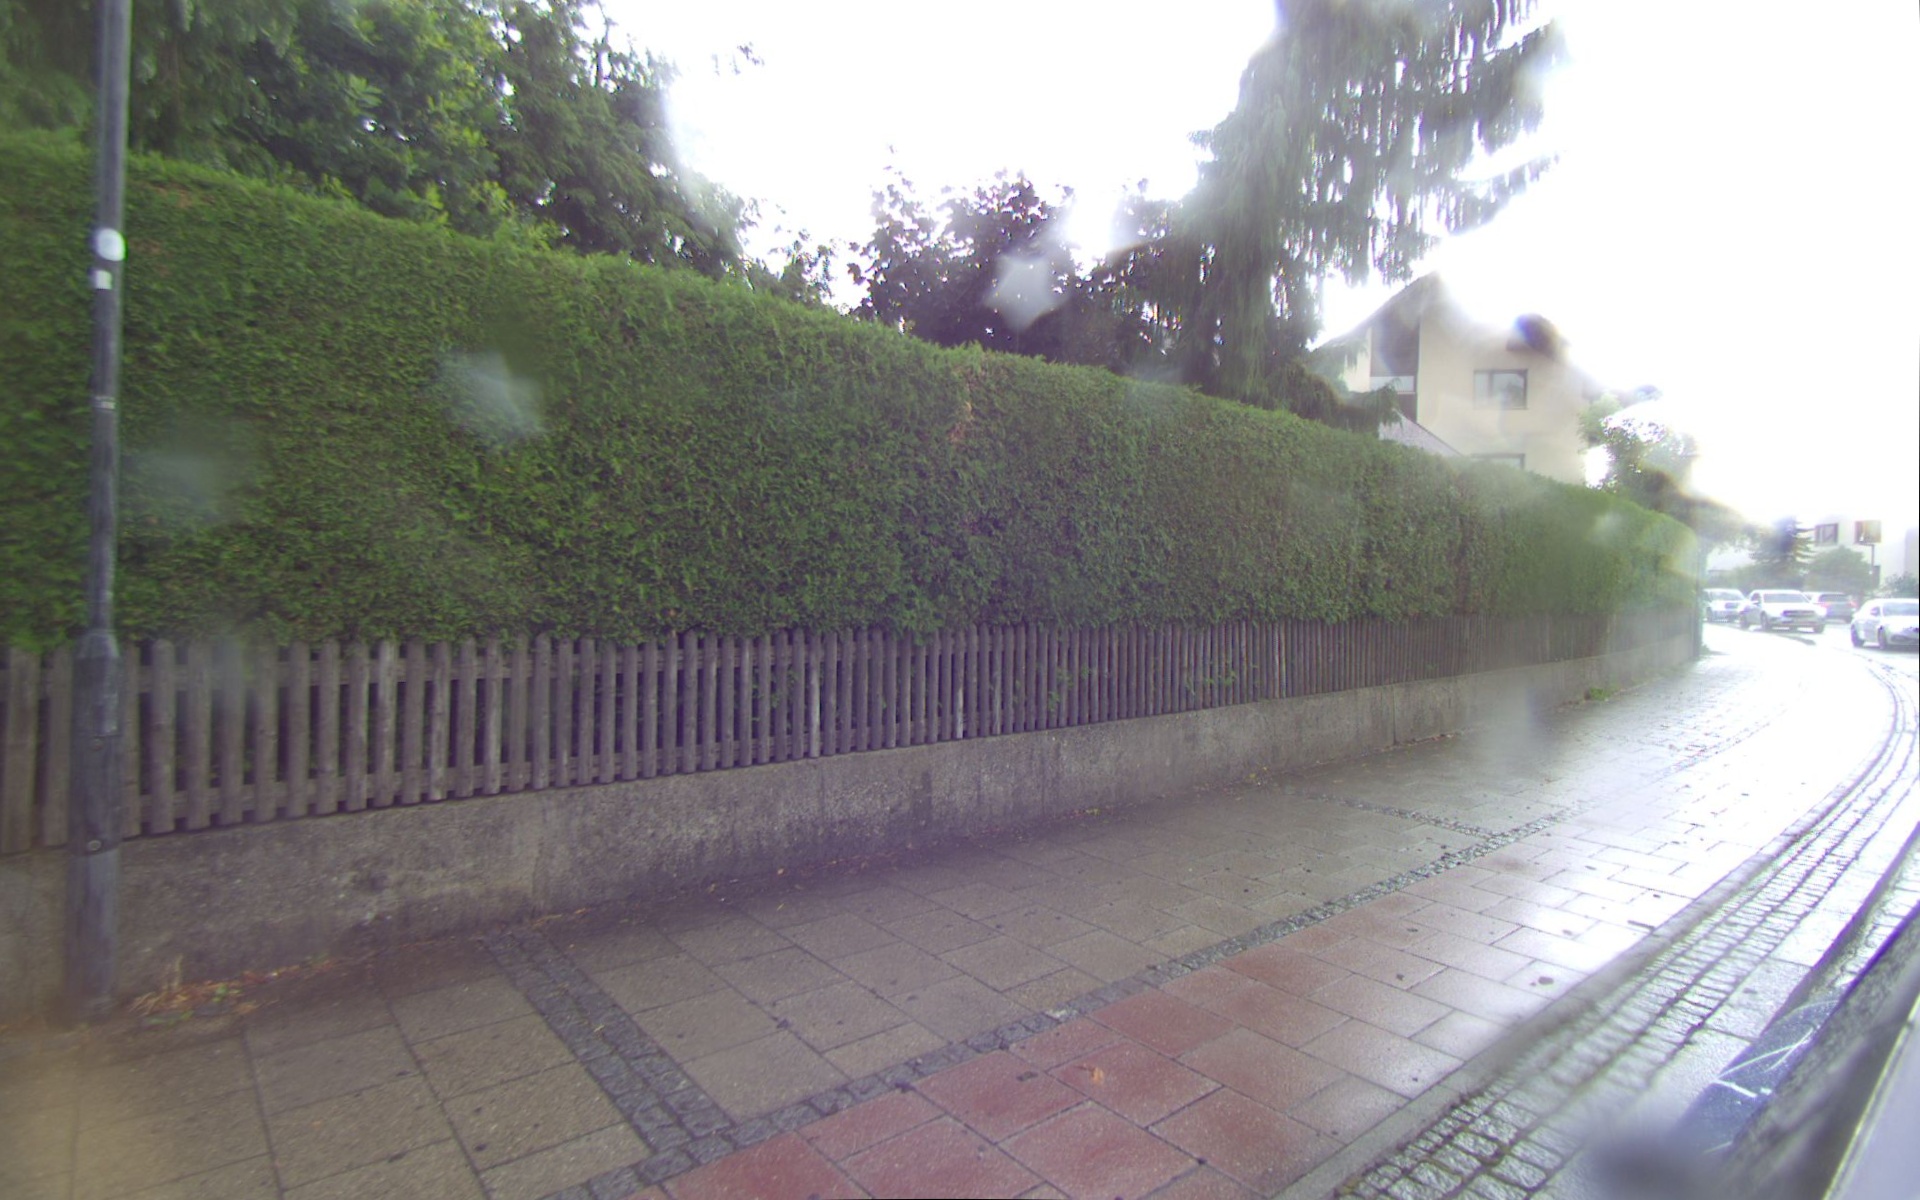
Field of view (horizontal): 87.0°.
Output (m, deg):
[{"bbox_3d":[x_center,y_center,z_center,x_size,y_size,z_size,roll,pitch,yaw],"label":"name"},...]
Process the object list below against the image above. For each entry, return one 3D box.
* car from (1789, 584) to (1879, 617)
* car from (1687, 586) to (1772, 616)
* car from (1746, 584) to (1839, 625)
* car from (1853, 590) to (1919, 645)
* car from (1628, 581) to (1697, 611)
[{"bbox_3d":[41.314,0.009,47.948,1.698,1.460,3.979,-1,0,17],"label":"car"},{"bbox_3d":[36.987,0.027,48.796,1.770,1.391,4.260,-1,0,16],"label":"car"},{"bbox_3d":[33.145,0.149,40.432,1.776,1.568,4.246,-1,0,24],"label":"car"},{"bbox_3d":[27.069,0.459,28.529,1.777,1.412,4.242,-1,0,27],"label":"car"},{"bbox_3d":[38.961,-0.231,56.227,1.770,1.568,4.260,-1,0,16],"label":"car"}]
